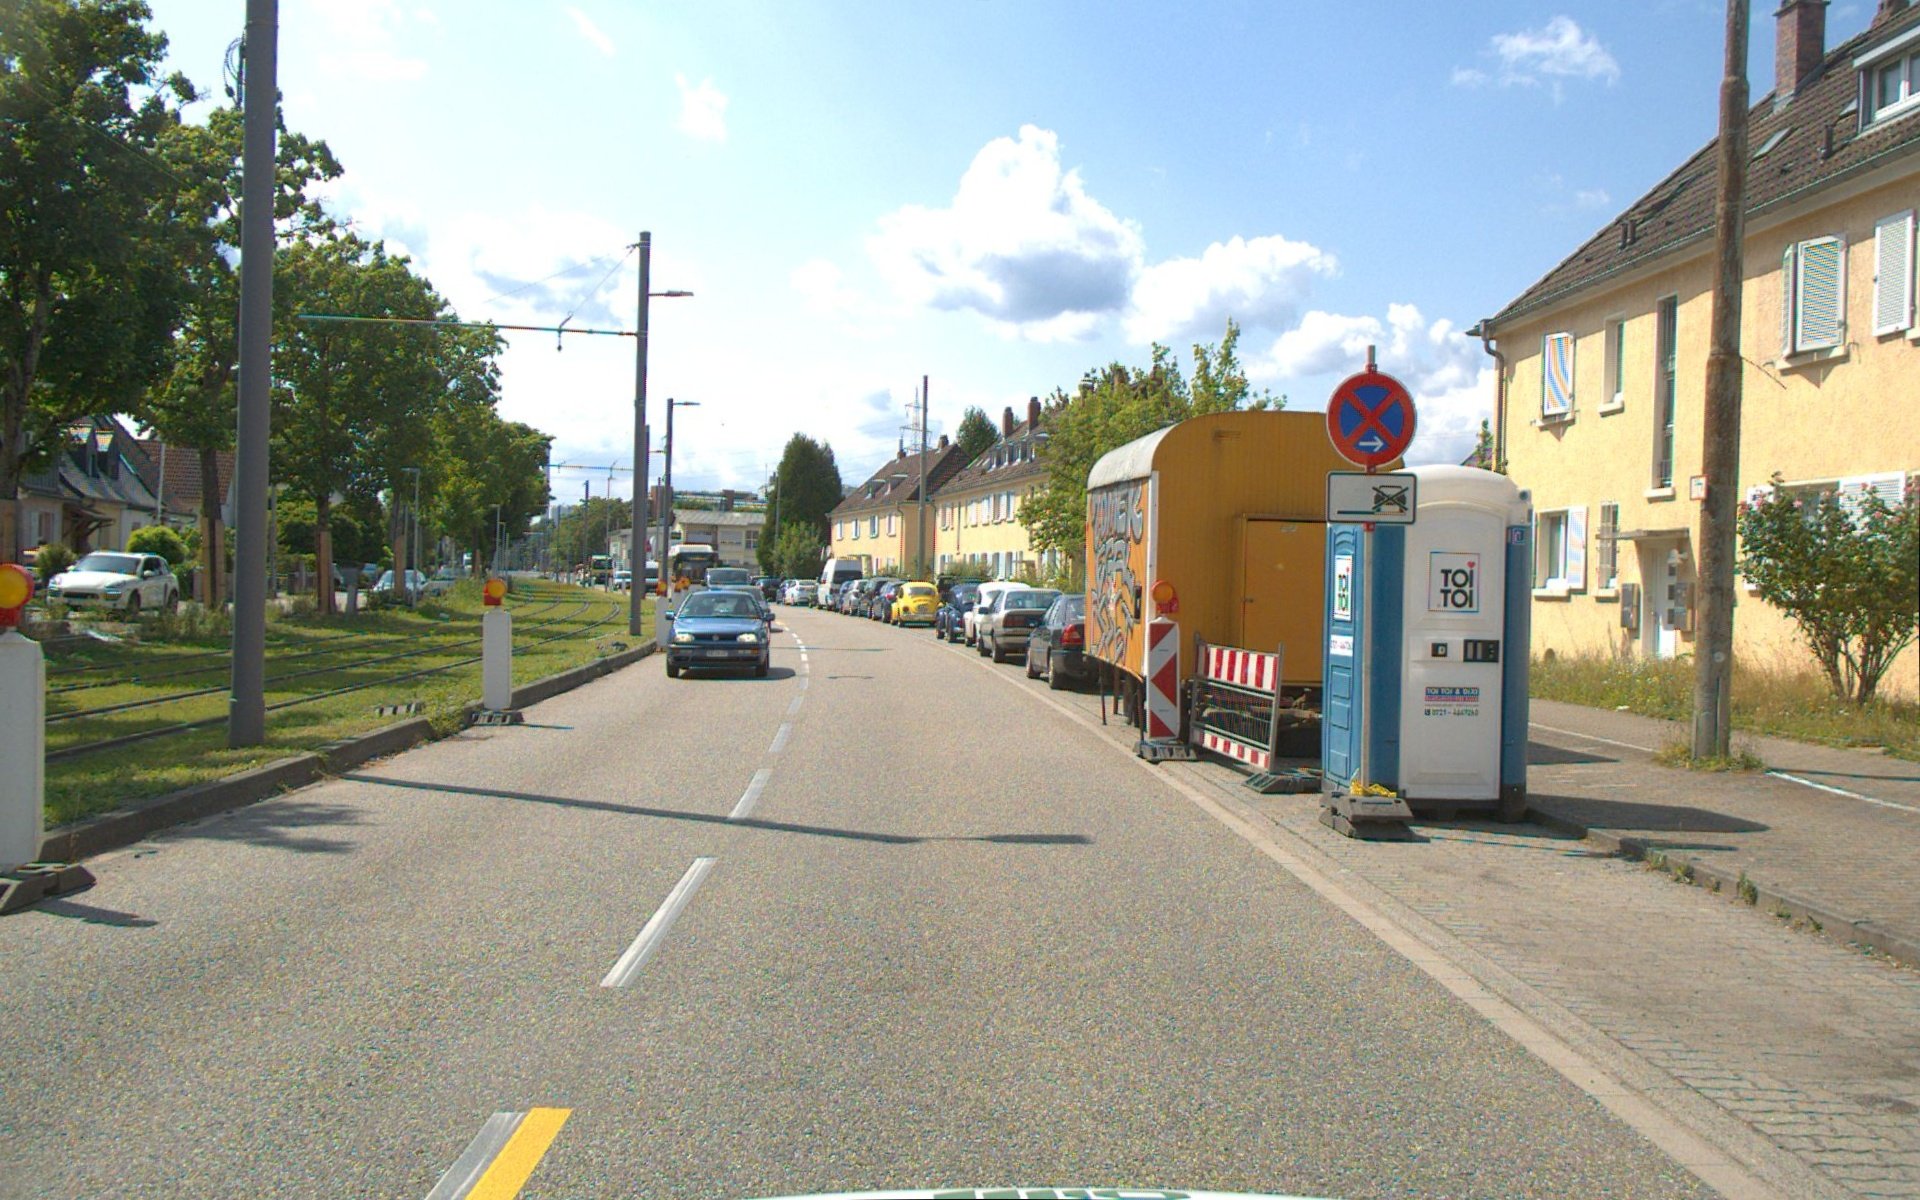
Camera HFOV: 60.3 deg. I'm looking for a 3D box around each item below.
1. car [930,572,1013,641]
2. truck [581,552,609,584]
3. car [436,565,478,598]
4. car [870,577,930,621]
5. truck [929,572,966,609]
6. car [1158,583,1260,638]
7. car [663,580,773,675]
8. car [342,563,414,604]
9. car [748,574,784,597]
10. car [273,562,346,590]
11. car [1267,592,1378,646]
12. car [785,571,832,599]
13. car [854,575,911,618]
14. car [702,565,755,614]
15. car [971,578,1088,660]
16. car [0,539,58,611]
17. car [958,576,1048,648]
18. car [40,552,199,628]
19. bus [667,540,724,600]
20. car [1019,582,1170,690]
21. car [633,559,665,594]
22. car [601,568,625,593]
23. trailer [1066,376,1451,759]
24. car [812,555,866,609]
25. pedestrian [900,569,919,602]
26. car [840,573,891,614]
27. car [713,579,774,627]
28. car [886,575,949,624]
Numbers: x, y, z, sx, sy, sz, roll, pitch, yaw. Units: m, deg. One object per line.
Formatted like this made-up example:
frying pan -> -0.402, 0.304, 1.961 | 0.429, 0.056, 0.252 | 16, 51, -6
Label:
car -> 0.241, 0.138, 43.460 | 1.520, 1.669, 4.239 | 2, 1, -8
truck -> -40.639, -3.550, 183.845 | 2.519, 3.519, 7.117 | 0, 1, -17
car -> -25.102, -0.957, 82.642 | 1.781, 1.614, 4.551 | 0, 1, -14
car -> -2.249, -0.049, 61.064 | 1.607, 1.508, 4.114 | 2, 1, -11
truck -> -0.605, -0.456, 78.885 | 1.322, 1.718, 2.434 | 1, 0, -11
car -> 6.892, 0.263, 46.154 | 1.606, 1.398, 4.078 | 1, 1, -10
car -> -4.073, 0.415, 28.276 | 1.633, 1.474, 3.955 | -1, 1, -5
car -> -21.991, -0.632, 62.681 | 1.786, 1.430, 4.801 | 2, 0, -10
car -> -12.496, -0.973, 106.580 | 1.735, 1.442, 3.984 | 0, 1, -15
car -> -38.808, -1.440, 98.801 | 3.925, 1.598, 1.785 | 1, 1, -18
car -> 10.106, 0.503, 46.356 | 1.606, 1.398, 4.078 | 1, 1, -10
car -> -8.509, -0.838, 92.813 | 1.769, 1.483, 4.744 | 0, 0, -16
car -> -3.128, -0.168, 66.367 | 1.608, 1.630, 3.919 | 2, 1, -13
car -> -9.821, -0.459, 69.951 | 1.920, 2.000, 5.278 | 1, 1, -11
car -> 1.320, 0.327, 33.294 | 1.673, 1.474, 4.830 | 2, 1, -5
car -> -27.046, -0.728, 44.500 | 4.389, 1.868, 2.060 | 2, 0, -11
car -> 0.939, 0.229, 38.372 | 1.547, 1.539, 4.454 | 2, 1, -5
car -> -21.653, -0.270, 42.877 | 1.844, 1.799, 5.078 | 1, 0, -5
bus -> -16.278, -1.830, 101.175 | 2.591, 3.472, 12.207 | 0, 1, -13
car -> 1.976, 0.484, 25.563 | 1.547, 1.474, 4.448 | 2, 1, -5
car -> -23.494, -1.781, 124.830 | 2.067, 2.486, 5.551 | 2, 0, -14
car -> -26.645, -1.507, 126.949 | 1.704, 1.804, 4.295 | 2, 1, -13
trailer -> 2.787, -0.301, 17.006 | 2.637, 3.283, 5.077 | 2, 0, -4
car -> -5.909, -0.889, 80.237 | 1.895, 2.524, 5.501 | 1, 1, -12
pedestrian -> -2.594, -0.734, 84.905 | 0.838, 1.680, 0.635 | 2, 0, -11
car -> -4.033, -0.300, 70.152 | 1.607, 1.630, 4.019 | 2, 1, -11
car -> -6.844, 0.081, 52.002 | 1.693, 1.413, 4.112 | 1, 0, -10
car -> -1.458, -0.054, 55.672 | 1.606, 1.508, 3.924 | -1, 2, -9
